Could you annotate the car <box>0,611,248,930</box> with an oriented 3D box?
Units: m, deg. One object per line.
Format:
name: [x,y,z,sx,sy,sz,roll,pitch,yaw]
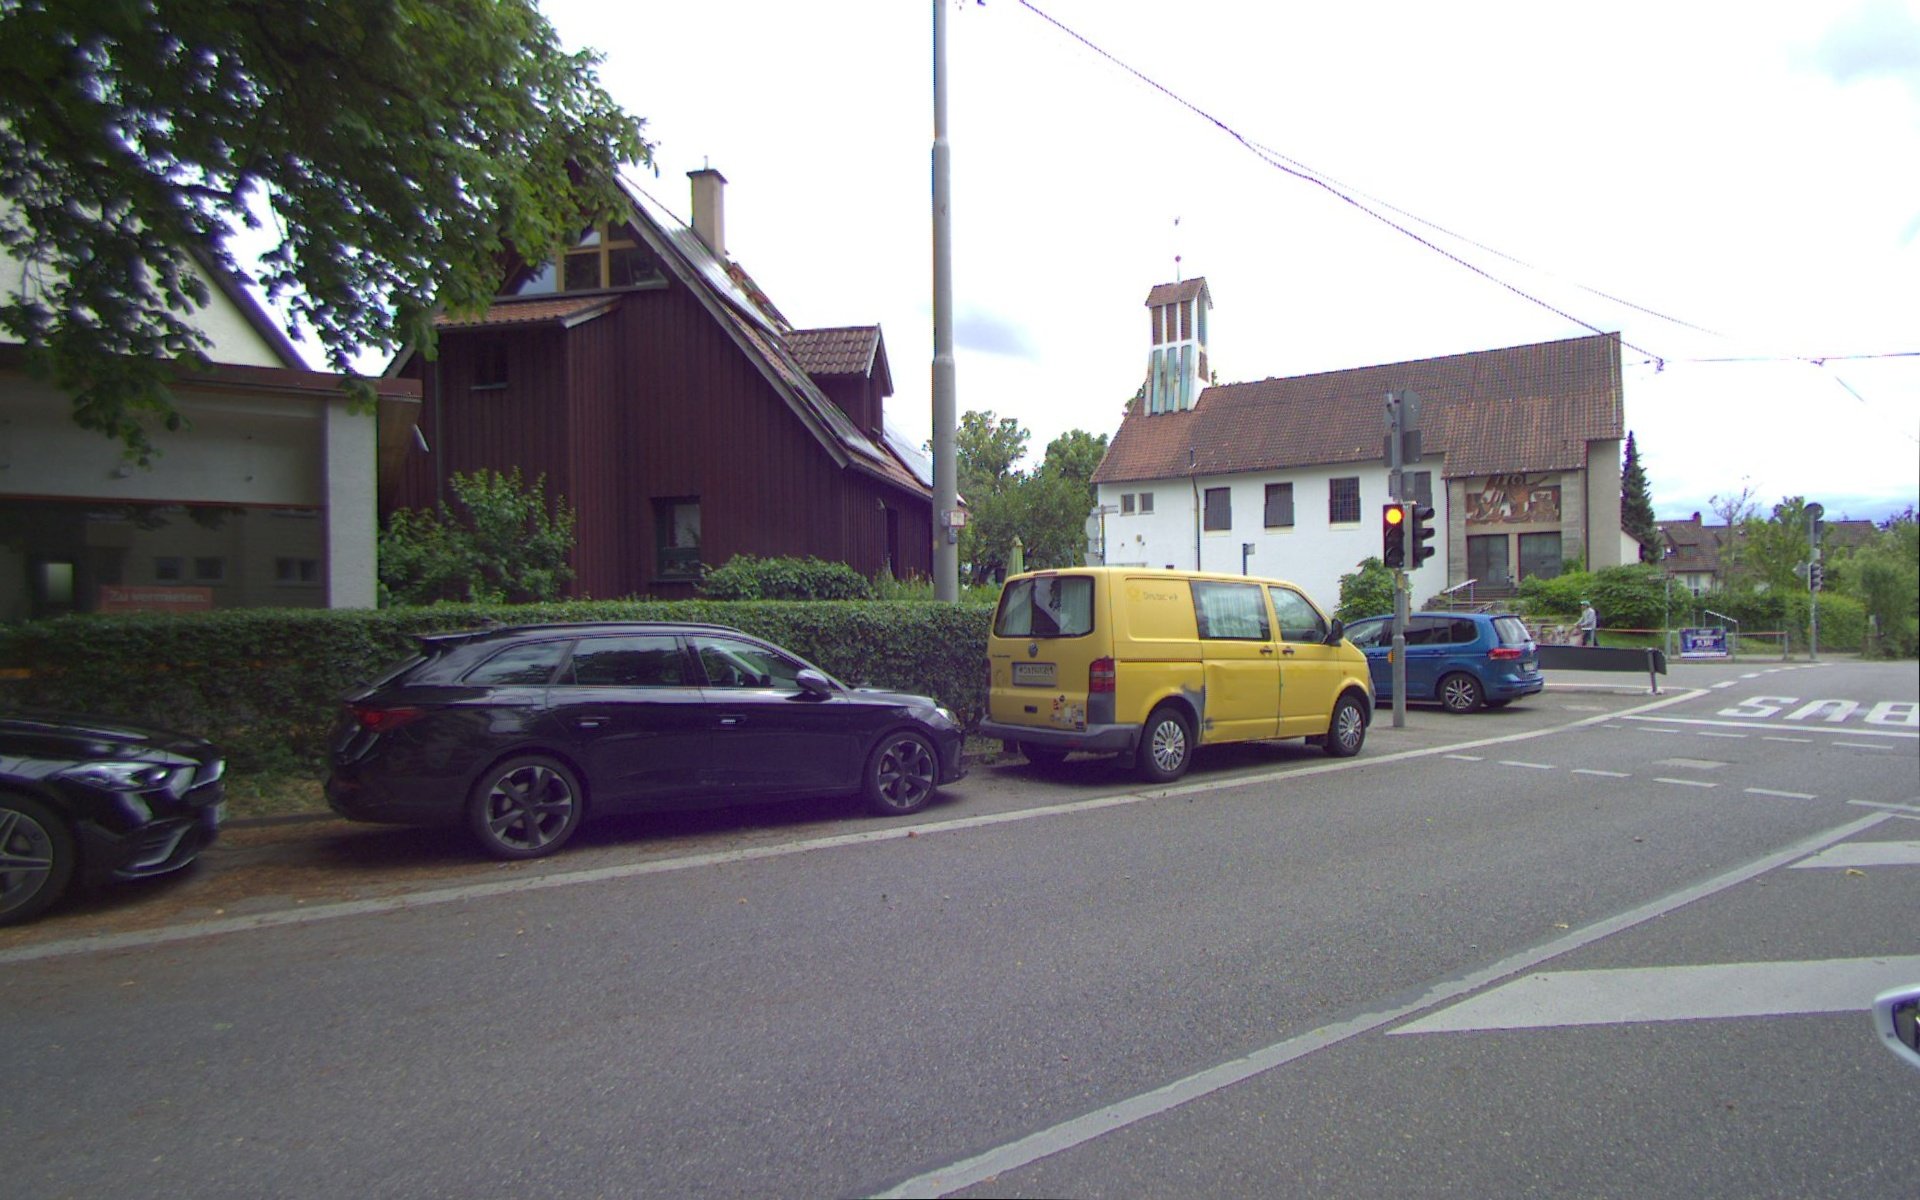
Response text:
car: [-6.146,0.780,4.606,4.541,1.469,1.736,1,-2,-31]

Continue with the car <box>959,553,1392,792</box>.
car: [2.441,0.662,10.713,4.756,2.016,1.902,1,-2,-37]

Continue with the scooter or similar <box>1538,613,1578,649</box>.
scooter or similar: [19.088,0.986,32.070,0.872,1.109,0.612,2,0,-2]

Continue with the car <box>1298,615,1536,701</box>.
car: [8.817,1.062,19.528,3.848,1.492,1.836,-1,-1,41]

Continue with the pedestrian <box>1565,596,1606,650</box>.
pedestrian: [19.976,0.737,32.098,0.815,1.675,0.689,2,0,-2]

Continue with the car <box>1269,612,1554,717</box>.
car: [7.692,1.027,17.379,1.833,1.567,4.125,0,-1,-43]

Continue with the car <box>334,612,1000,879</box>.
car: [-2.019,0.864,7.495,4.464,1.469,1.736,1,-2,-33]
